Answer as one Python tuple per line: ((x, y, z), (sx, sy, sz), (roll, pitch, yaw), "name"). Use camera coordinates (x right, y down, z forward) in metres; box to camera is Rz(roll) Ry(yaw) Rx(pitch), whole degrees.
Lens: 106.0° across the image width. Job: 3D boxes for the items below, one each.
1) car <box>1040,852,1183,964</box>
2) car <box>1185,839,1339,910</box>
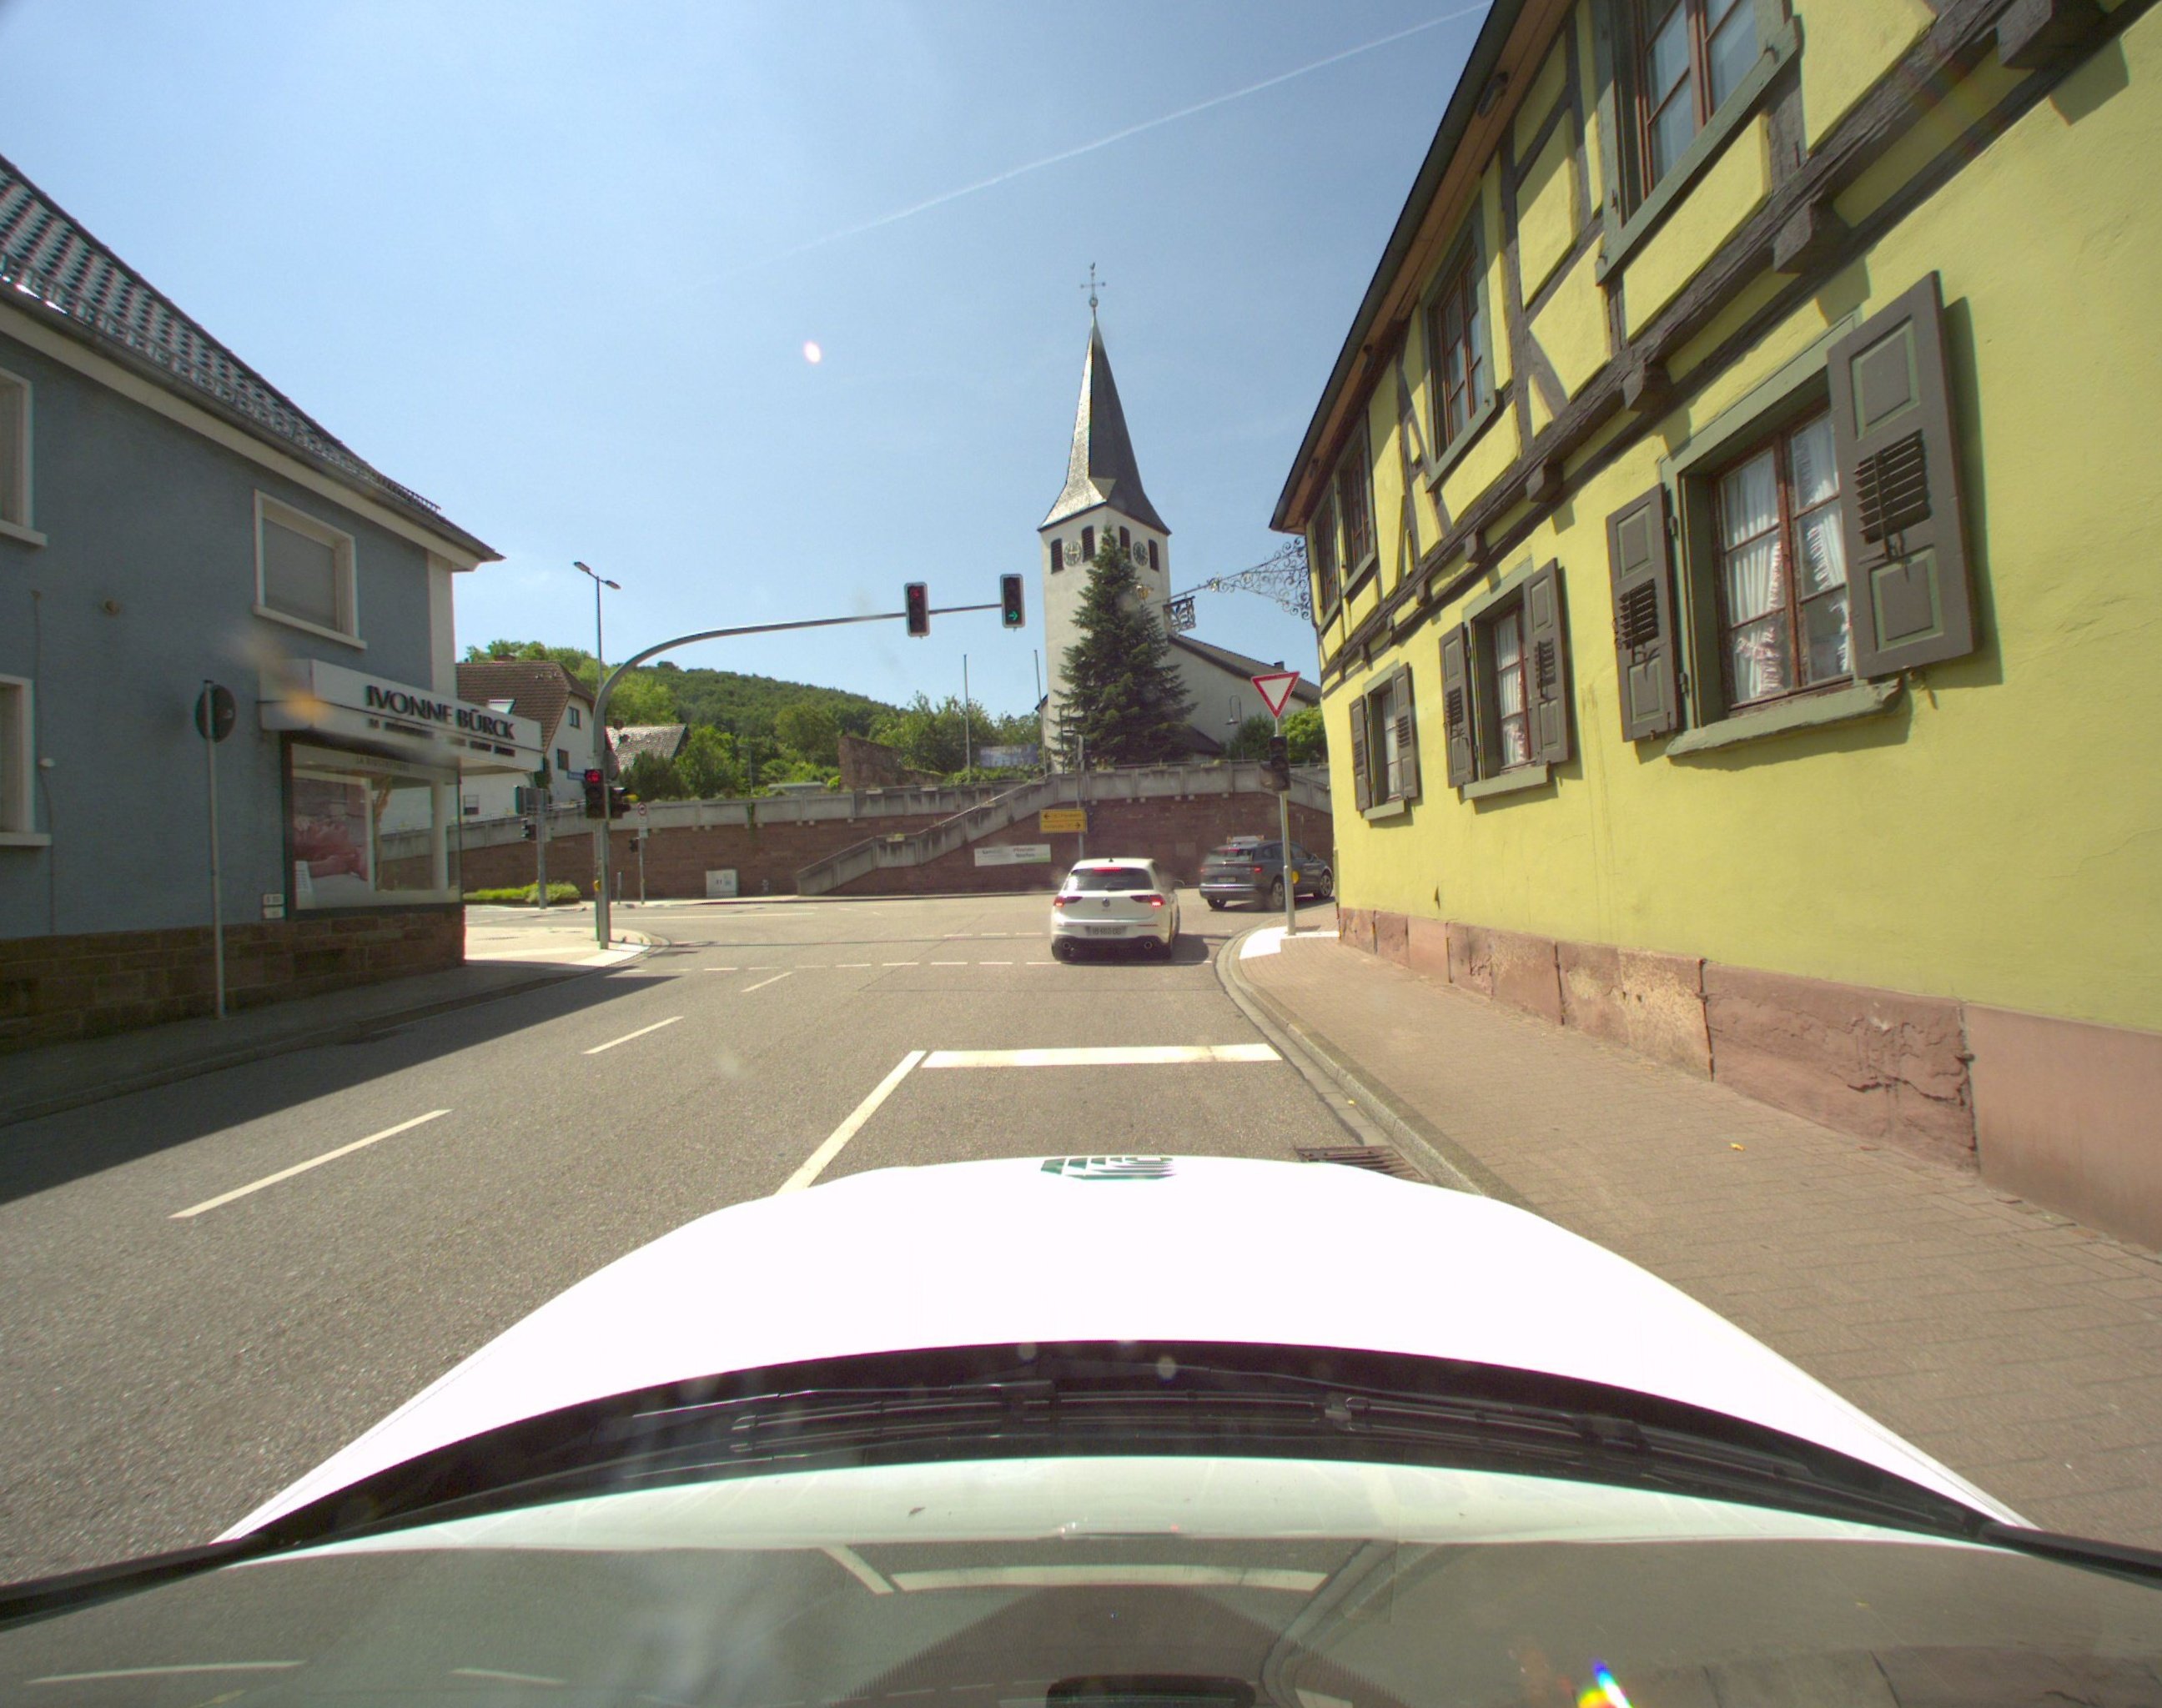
((0.648, 0.749, 13.053), (1.772, 1.458, 3.872), (-3, -1, 9), "car")
((4.658, 0.464, 20.557), (1.930, 1.582, 4.353), (-3, -1, 40), "car")
